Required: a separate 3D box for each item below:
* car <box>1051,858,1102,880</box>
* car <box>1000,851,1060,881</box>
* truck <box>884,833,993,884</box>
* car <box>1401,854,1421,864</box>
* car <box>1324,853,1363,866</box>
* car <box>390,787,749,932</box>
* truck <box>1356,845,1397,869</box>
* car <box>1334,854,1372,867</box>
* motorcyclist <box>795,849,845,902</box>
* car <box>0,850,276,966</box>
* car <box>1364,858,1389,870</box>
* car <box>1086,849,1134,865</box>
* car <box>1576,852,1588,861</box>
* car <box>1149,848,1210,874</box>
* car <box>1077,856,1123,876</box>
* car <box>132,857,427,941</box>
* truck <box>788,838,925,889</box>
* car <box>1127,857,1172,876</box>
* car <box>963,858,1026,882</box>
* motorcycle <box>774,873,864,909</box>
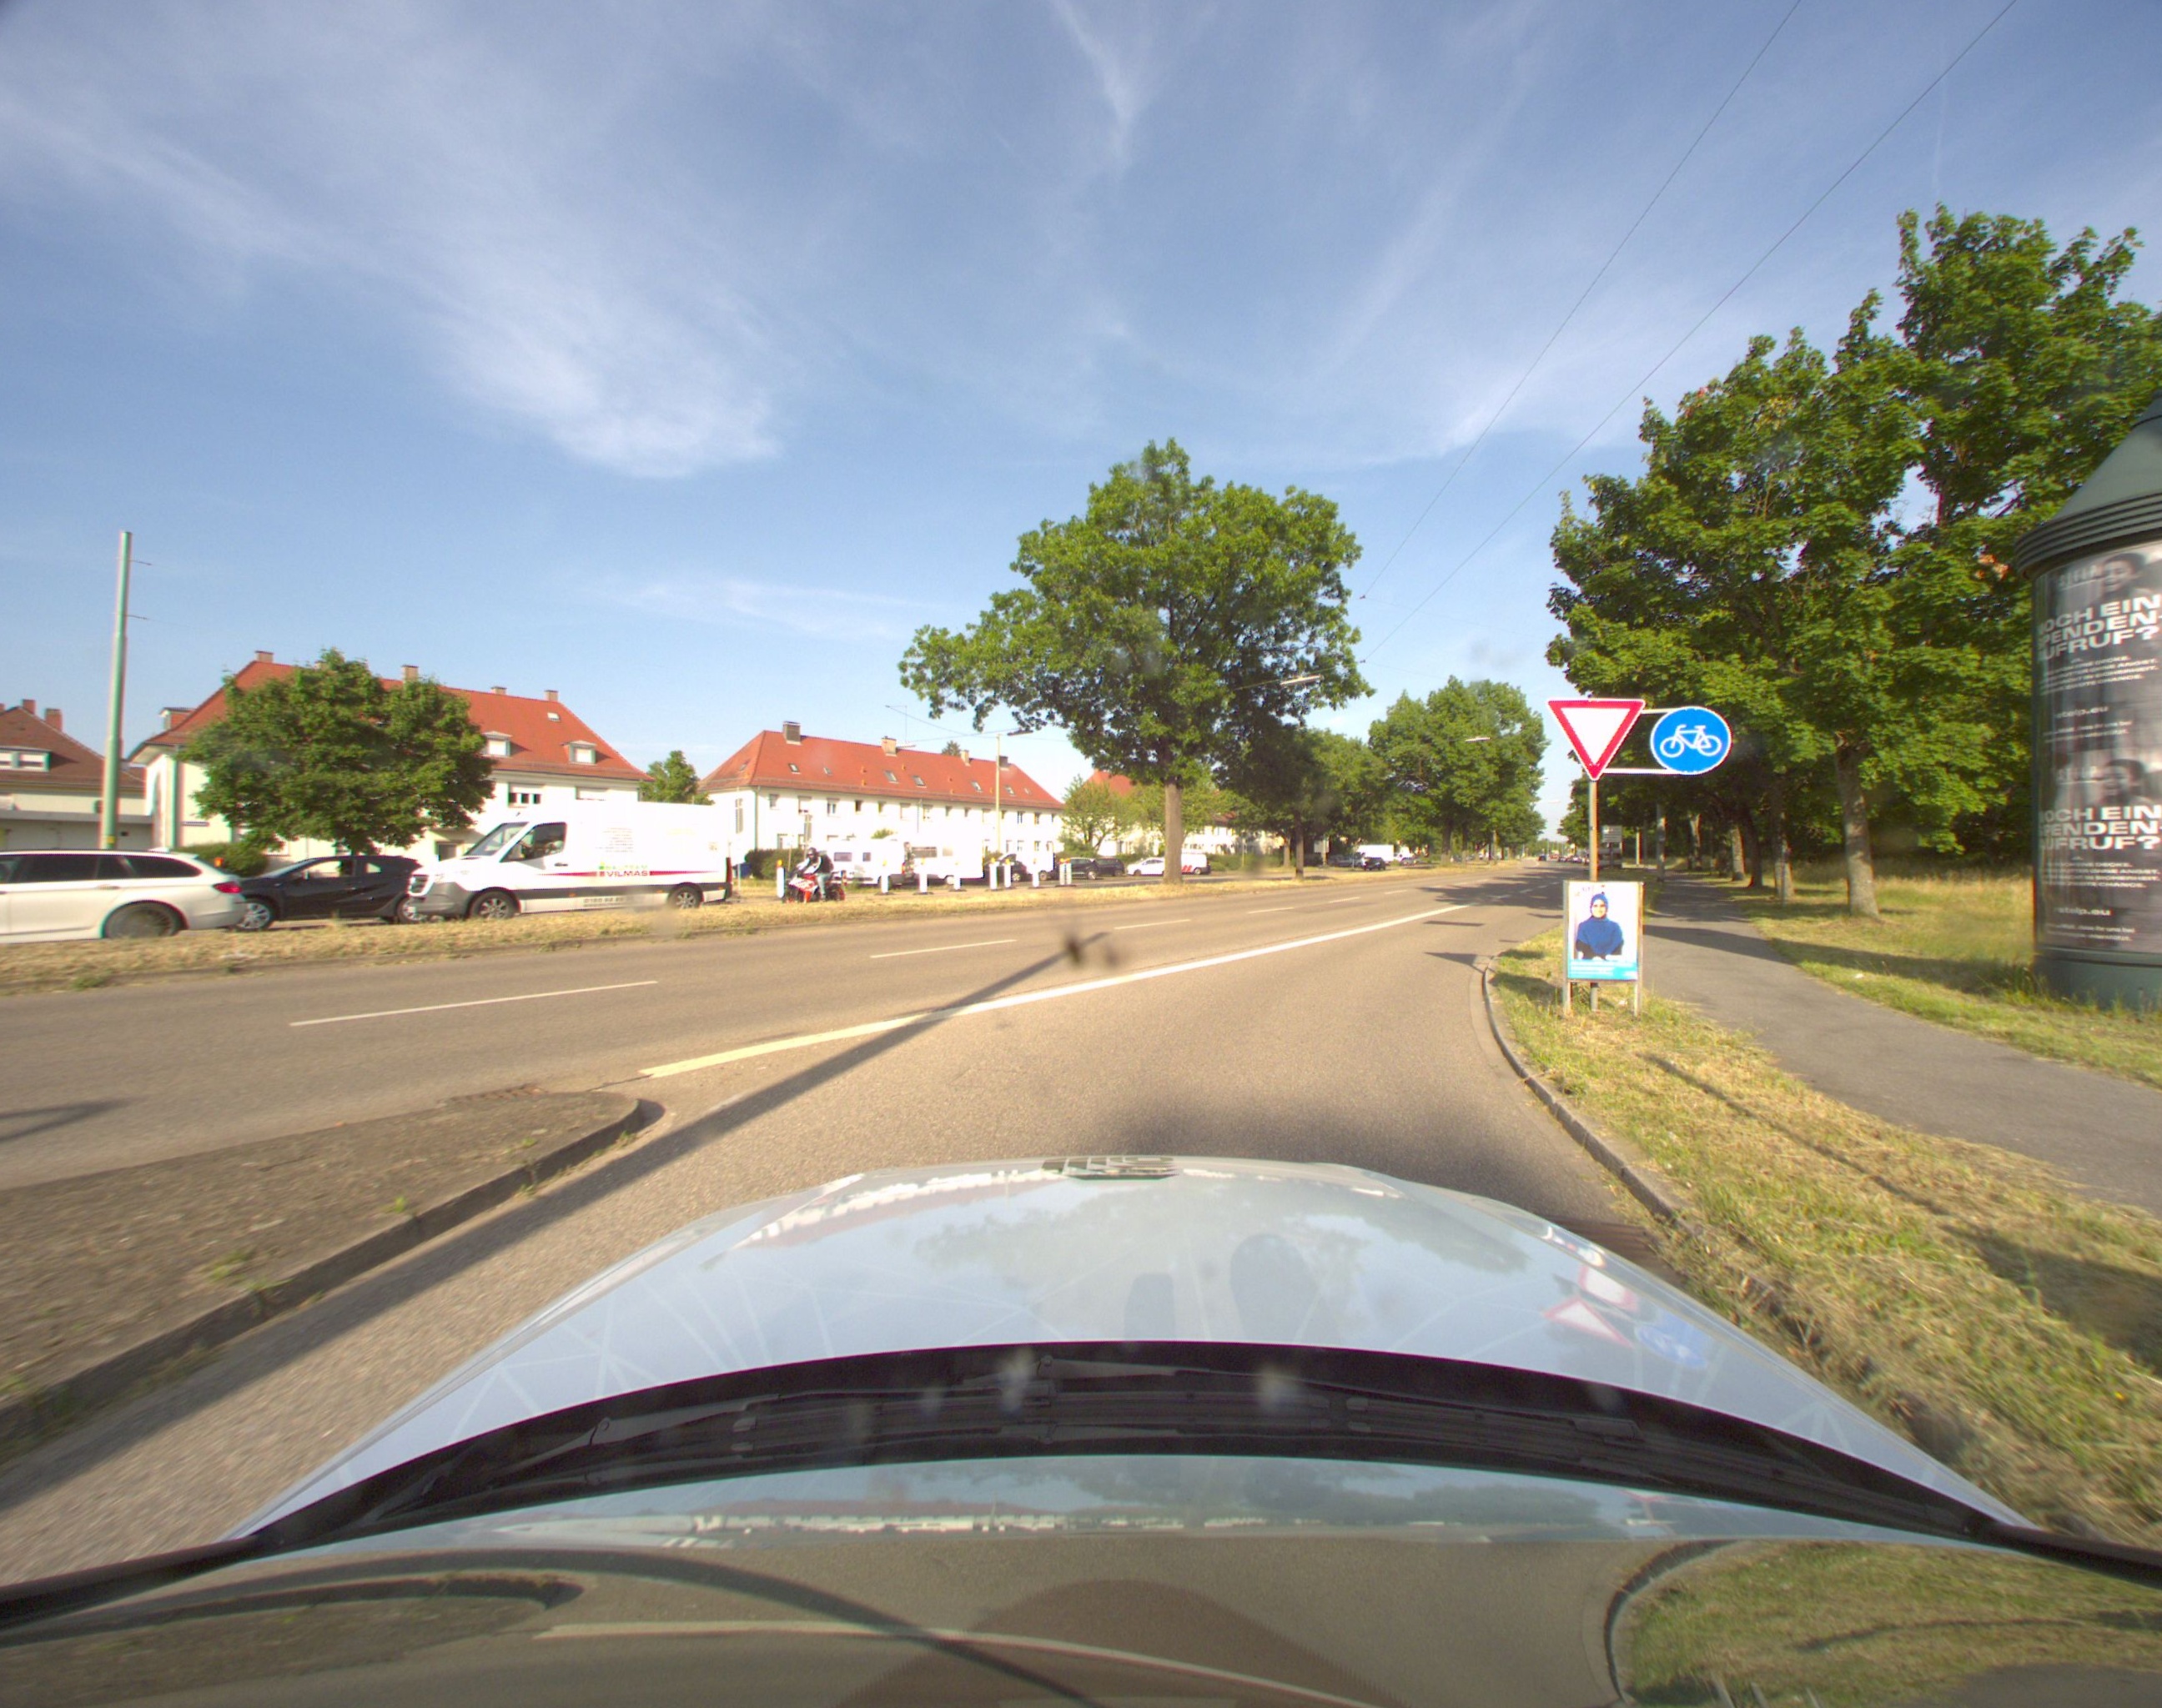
[{"bbox_3d":[-0.314,1.039,57.927,3.483,1.514,1.892,-1,0,-6],"label":"car"},{"bbox_3d":[-3.494,0.801,55.165,3.896,1.920,1.890,-1,0,-10],"label":"car"},{"bbox_3d":[-8.218,0.246,47.204,6.059,2.854,1.890,-1,-1,-10],"label":"truck"},{"bbox_3d":[51.957,0.742,128.140,1.892,1.451,4.306,-2,-3,36],"label":"car"},{"bbox_3d":[34.646,0.700,107.434,4.521,1.723,1.995,0,-1,-7],"label":"car"},{"bbox_3d":[-10.643,0.122,17.624,1.974,2.583,6.268,-1,-1,37],"label":"car"},{"bbox_3d":[43.533,0.371,119.928,5.494,3.465,1.991,0,-1,-14],"label":"truck"},{"bbox_3d":[36.872,0.815,110.416,4.521,1.723,1.995,0,-1,-7],"label":"car"},{"bbox_3d":[-6.833,0.550,21.358,0.671,1.352,1.076,-1,-1,36],"label":"motorcyclist"},{"bbox_3d":[-15.137,0.731,11.514,1.816,1.563,5.144,-1,0,37],"label":"car"},{"bbox_3d":[33.045,1.110,90.934,1.693,1.353,4.025,-1,0,33],"label":"car"},{"bbox_3d":[3.157,0.365,89.453,4.915,1.719,2.013,-1,-1,36],"label":"car"},{"bbox_3d":[113.946,0.498,185.160,1.975,2.014,4.024,-1,0,26],"label":"car"},{"bbox_3d":[8.624,0.625,71.300,4.962,2.232,1.993,-1,0,-10],"label":"car"},{"bbox_3d":[1.445,0.913,63.408,3.417,1.514,1.892,-1,0,-6],"label":"car"},{"bbox_3d":[-15.913,0.797,16.374,1.693,1.453,4.025,-1,0,37],"label":"car"},{"bbox_3d":[-11.459,0.478,41.857,6.313,2.524,2.278,0,0,1],"label":"truck"},{"bbox_3d":[5.552,1.027,66.099,3.417,1.514,1.892,-1,0,-6],"label":"car"},{"bbox_3d":[-5.599,0.990,52.529,3.900,1.456,1.888,-1,0,-13],"label":"car"},{"bbox_3d":[-6.833,0.941,21.359,0.682,0.866,2.293,-1,-1,36],"label":"motorcycle"}]
